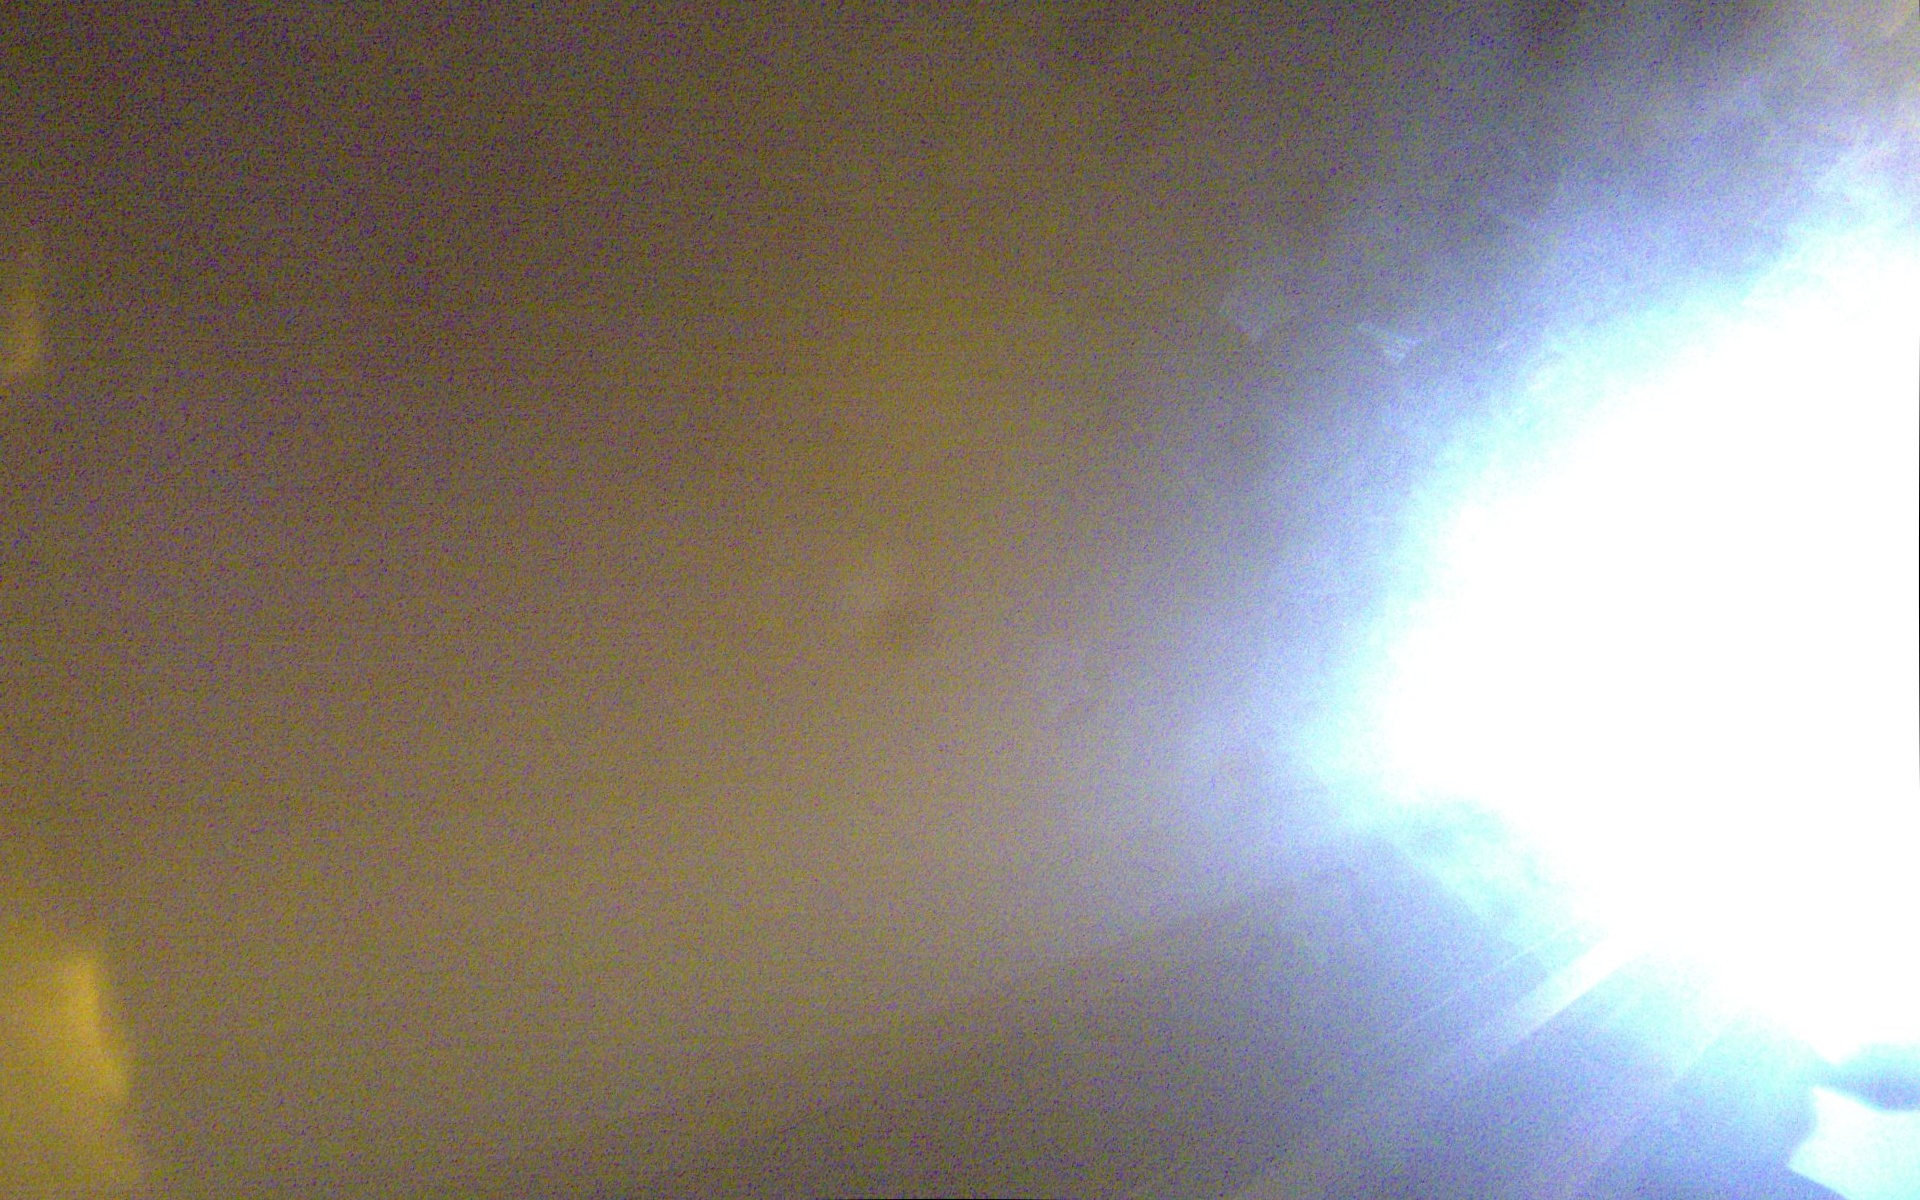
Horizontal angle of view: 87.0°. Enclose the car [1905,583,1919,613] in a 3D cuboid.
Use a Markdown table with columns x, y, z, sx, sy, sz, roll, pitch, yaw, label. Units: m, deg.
| x | y | z | sx | sy | sz | roll | pitch | yaw | label |
| --- | --- | --- | --- | --- | --- | --- | --- | --- | --- |
| 65.624 | -0.143 | 68.676 | 1.891 | 2.038 | 3.943 | 2 | 2 | 39 | car |
